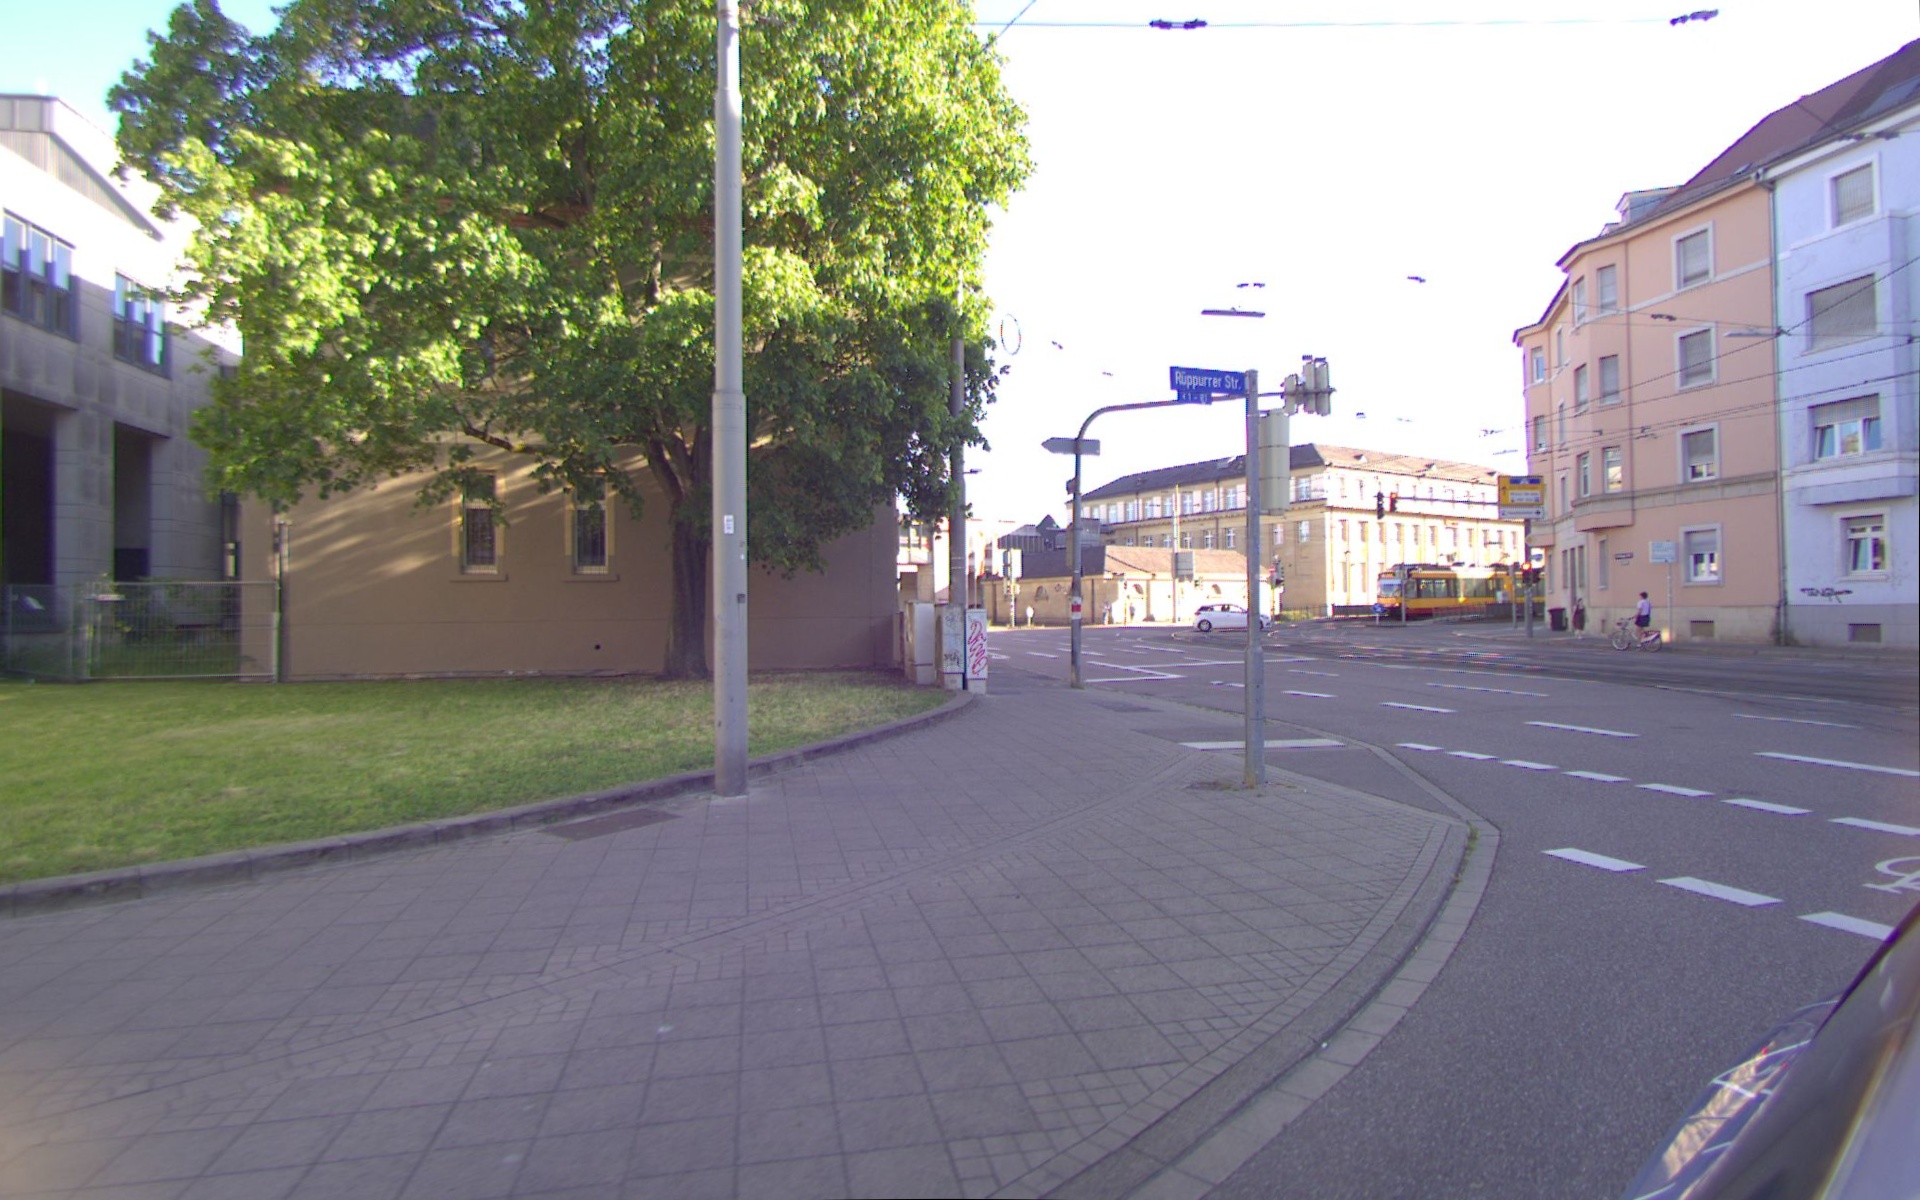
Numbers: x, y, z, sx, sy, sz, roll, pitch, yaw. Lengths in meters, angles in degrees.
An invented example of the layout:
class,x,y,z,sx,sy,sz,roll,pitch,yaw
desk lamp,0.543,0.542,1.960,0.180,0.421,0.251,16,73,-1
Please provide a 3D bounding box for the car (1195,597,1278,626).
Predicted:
class,x,y,z,sx,sy,sz,roll,pitch,yaw
car,14.124,0.572,51.749,4.048,1.411,1.783,-1,0,17

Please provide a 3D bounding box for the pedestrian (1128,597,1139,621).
class,x,y,z,sx,sy,sz,roll,pitch,yaw
pedestrian,12.193,0.613,71.034,0.620,1.661,0.484,-1,-1,30

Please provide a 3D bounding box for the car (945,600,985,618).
class,x,y,z,sx,sy,sz,roll,pitch,yaw
car,0.407,0.726,80.217,1.696,1.392,3.538,0,-1,-28

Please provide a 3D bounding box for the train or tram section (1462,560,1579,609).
class,x,y,z,sx,sy,sz,roll,pitch,yaw
train or tram section,42.382,-1.197,76.302,10.476,3.399,3.166,-2,0,-33

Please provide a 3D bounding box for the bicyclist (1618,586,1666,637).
class,x,y,z,sx,sy,sz,roll,pitch,yaw
bicyclist,22.805,0.381,33.865,0.733,1.664,1.128,-1,-1,-12

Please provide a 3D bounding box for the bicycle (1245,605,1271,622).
class,x,y,z,sx,sy,sz,roll,pitch,yaw
bicycle,21.225,0.953,72.087,2.037,1.150,0.685,-2,0,-39

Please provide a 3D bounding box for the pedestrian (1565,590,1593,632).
class,x,y,z,sx,sy,sz,roll,pitch,yaw
pedestrian,23.921,0.413,39.125,0.666,1.583,0.718,-1,-1,10

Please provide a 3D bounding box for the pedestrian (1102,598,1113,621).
class,x,y,z,sx,sy,sz,roll,pitch,yaw
pedestrian,10.589,0.696,72.803,0.620,1.661,0.509,-1,-1,30

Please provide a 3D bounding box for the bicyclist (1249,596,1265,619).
class,x,y,z,sx,sy,sz,roll,pitch,yaw
bicyclist,21.149,0.539,72.043,0.923,1.660,0.677,-2,0,-38

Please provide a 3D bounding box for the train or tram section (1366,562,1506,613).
class,x,y,z,sx,sy,sz,roll,pitch,yaw
train or tram section,33.172,-0.881,70.210,11.590,3.363,3.168,-1,0,-33

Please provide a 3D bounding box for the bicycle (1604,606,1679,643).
class,x,y,z,sx,sy,sz,roll,pitch,yaw
bicycle,22.802,0.800,33.895,0.733,1.206,2.156,-1,0,-12
